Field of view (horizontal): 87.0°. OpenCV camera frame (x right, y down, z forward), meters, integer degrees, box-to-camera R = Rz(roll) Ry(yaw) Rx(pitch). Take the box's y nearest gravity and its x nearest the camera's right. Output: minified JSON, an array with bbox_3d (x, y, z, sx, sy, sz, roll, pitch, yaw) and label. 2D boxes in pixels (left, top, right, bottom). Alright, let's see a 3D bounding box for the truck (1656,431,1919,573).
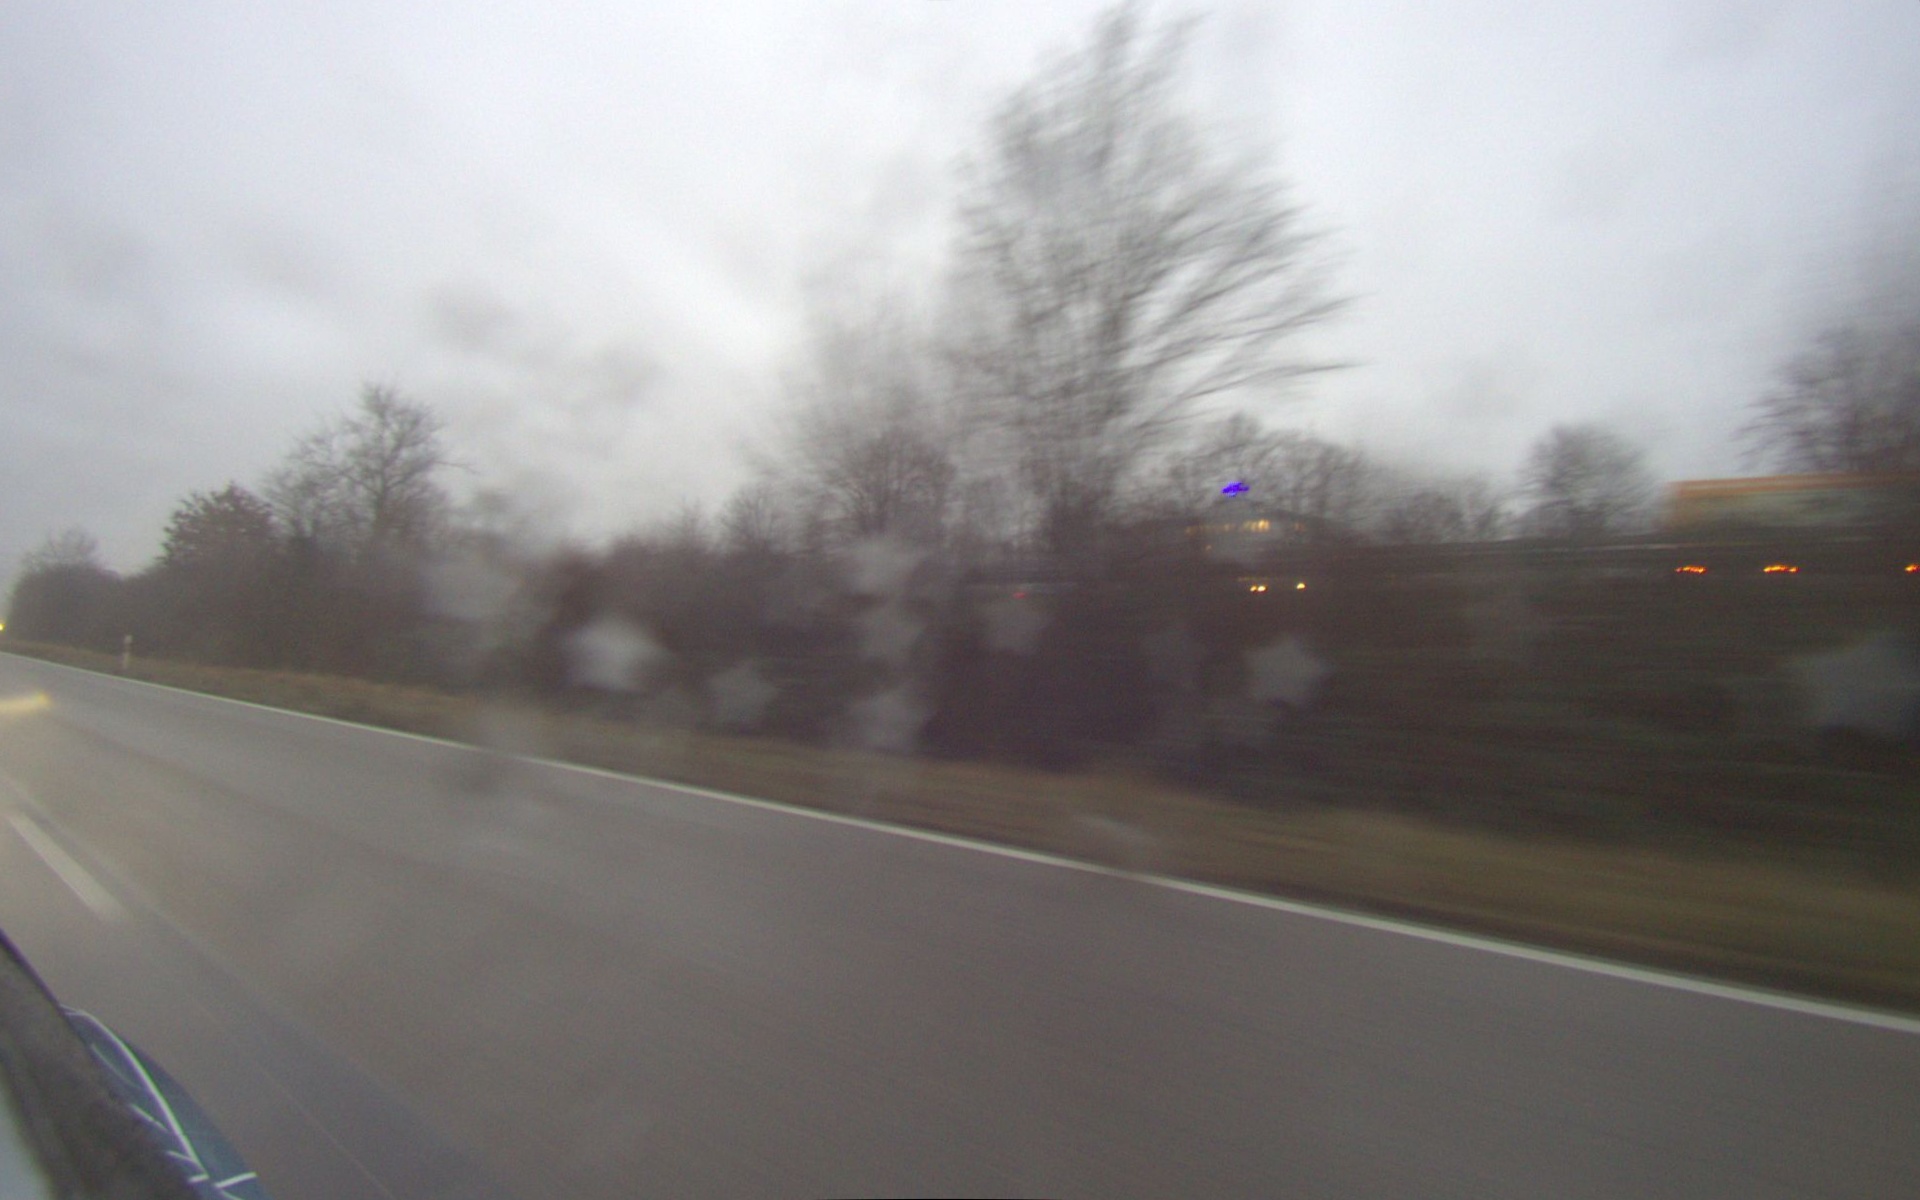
[{"bbox_3d":[16.381,-1.773,19.393,4.826,2.361,1.973,-1,0,41],"label":"truck"}]
